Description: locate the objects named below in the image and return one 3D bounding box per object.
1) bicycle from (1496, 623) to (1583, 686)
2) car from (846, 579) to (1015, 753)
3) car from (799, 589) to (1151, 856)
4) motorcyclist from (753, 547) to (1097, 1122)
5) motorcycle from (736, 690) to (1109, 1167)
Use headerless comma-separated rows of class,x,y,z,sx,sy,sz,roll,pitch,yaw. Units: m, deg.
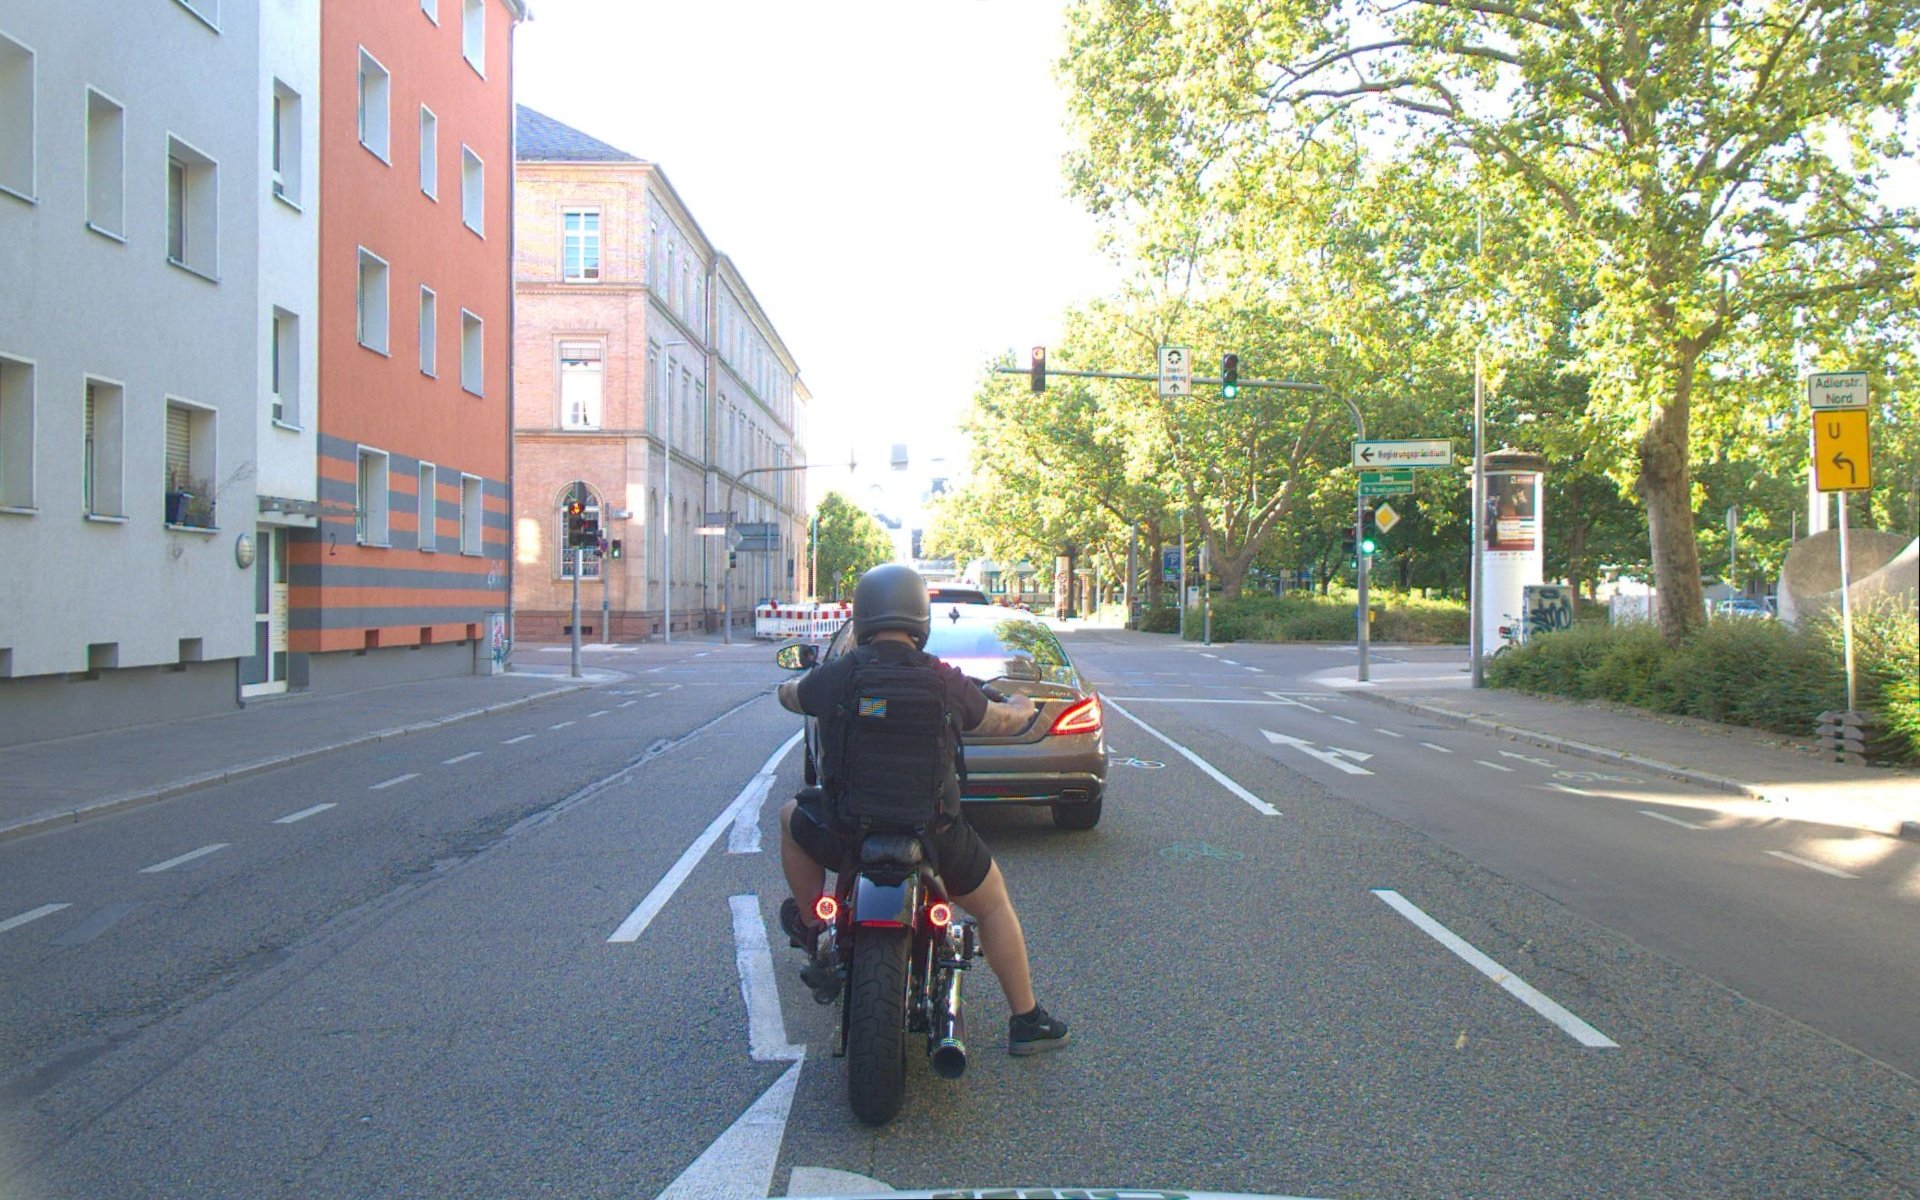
bicycle,9.733,0.920,27.794,1.324,1.041,0.363,0,0,0
car,-0.332,0.615,17.744,1.580,1.636,4.327,0,0,-2
car,-0.109,0.681,11.581,1.909,1.498,4.355,0,0,-7
motorcyclist,-0.109,0.659,5.387,0.969,1.625,1.403,0,0,-1
motorcycle,-0.114,0.922,5.541,0.969,1.097,2.451,0,0,-1
